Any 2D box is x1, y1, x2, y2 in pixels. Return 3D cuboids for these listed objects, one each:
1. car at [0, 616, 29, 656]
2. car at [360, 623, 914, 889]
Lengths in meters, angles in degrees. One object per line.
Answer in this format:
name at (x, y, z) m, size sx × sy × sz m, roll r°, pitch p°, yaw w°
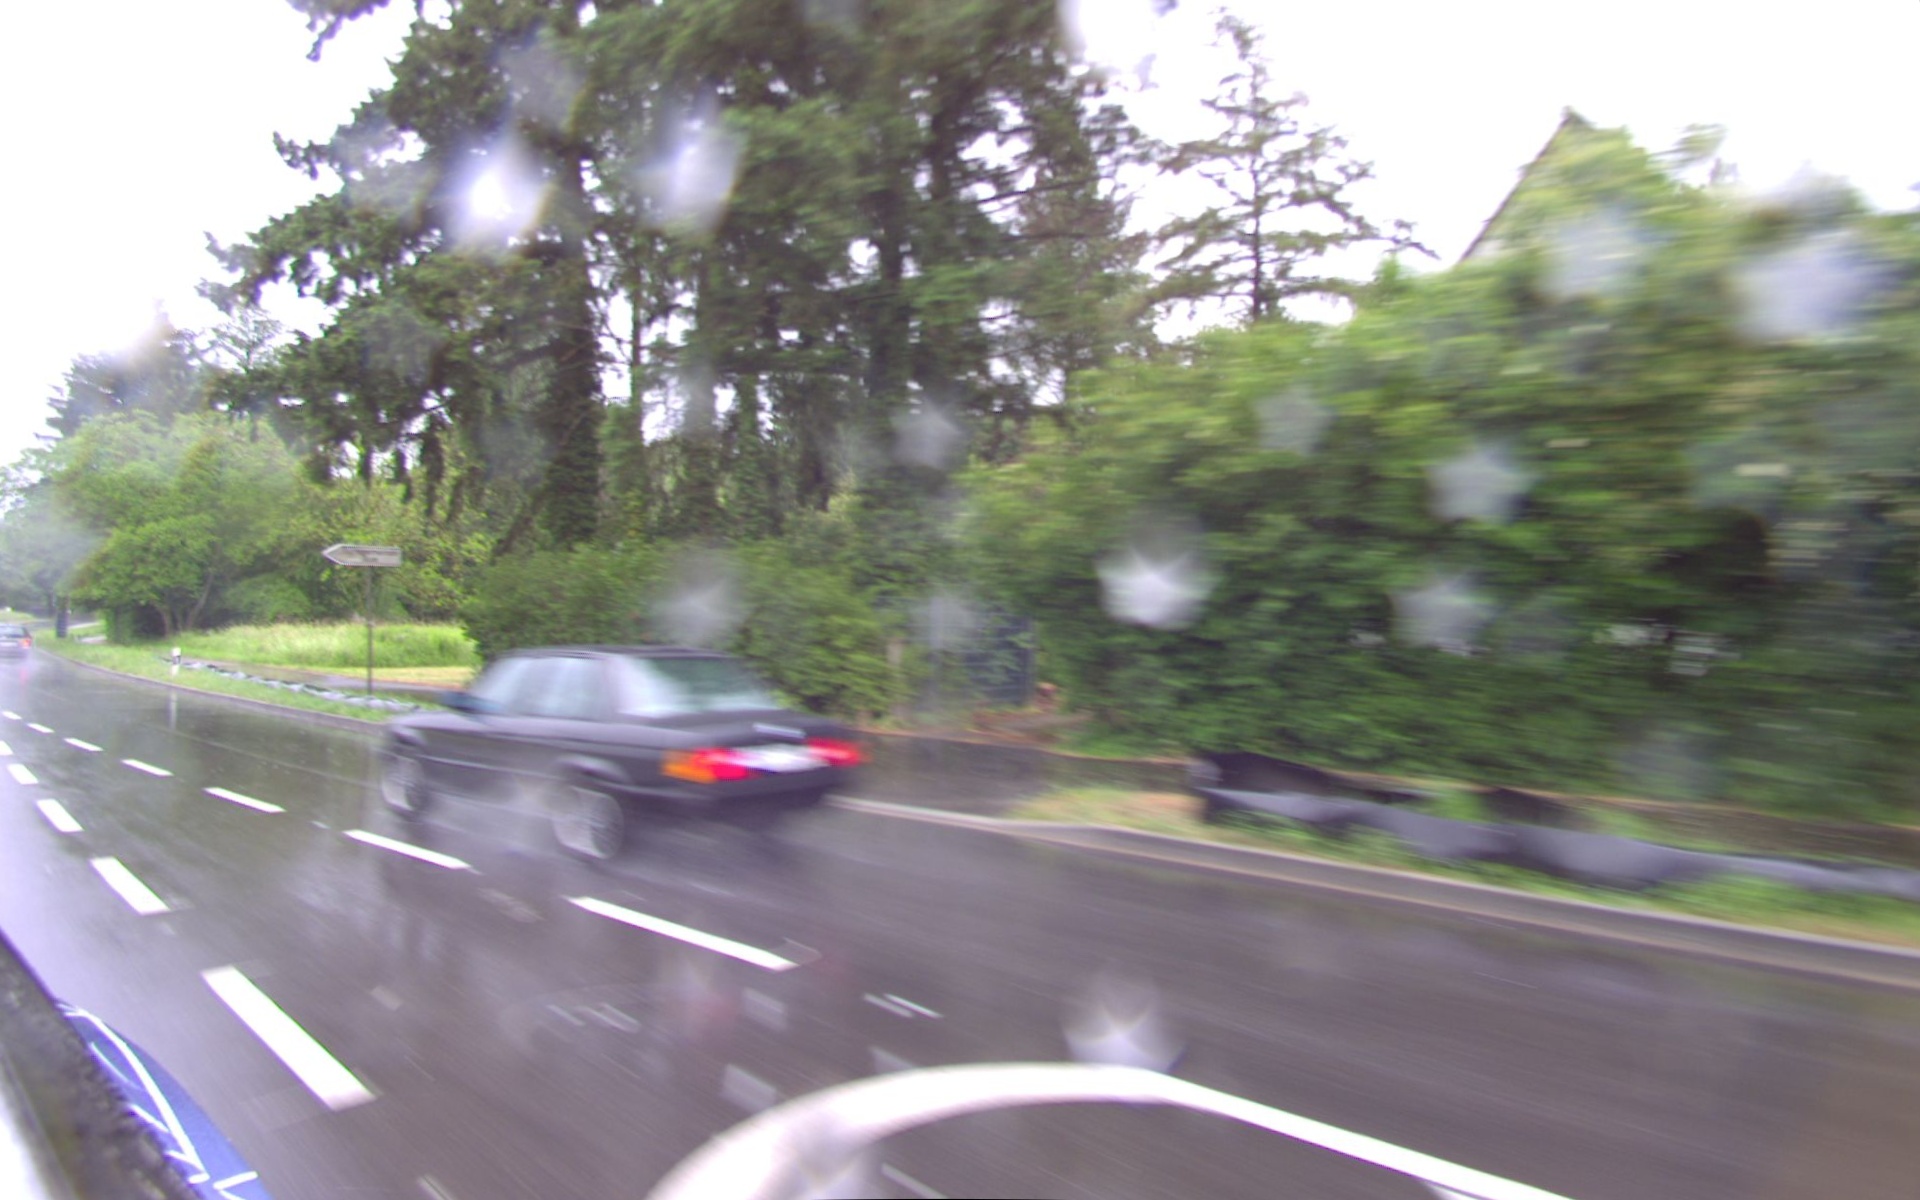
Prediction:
car at (-39.692, 1.522, 41.631) m, size 4.000 × 1.564 × 1.741 m, roll -3°, pitch -4°, yaw 43°
car at (-2.493, 0.905, 7.315) m, size 4.218 × 1.393 × 1.667 m, roll -1°, pitch -4°, yaw 37°
